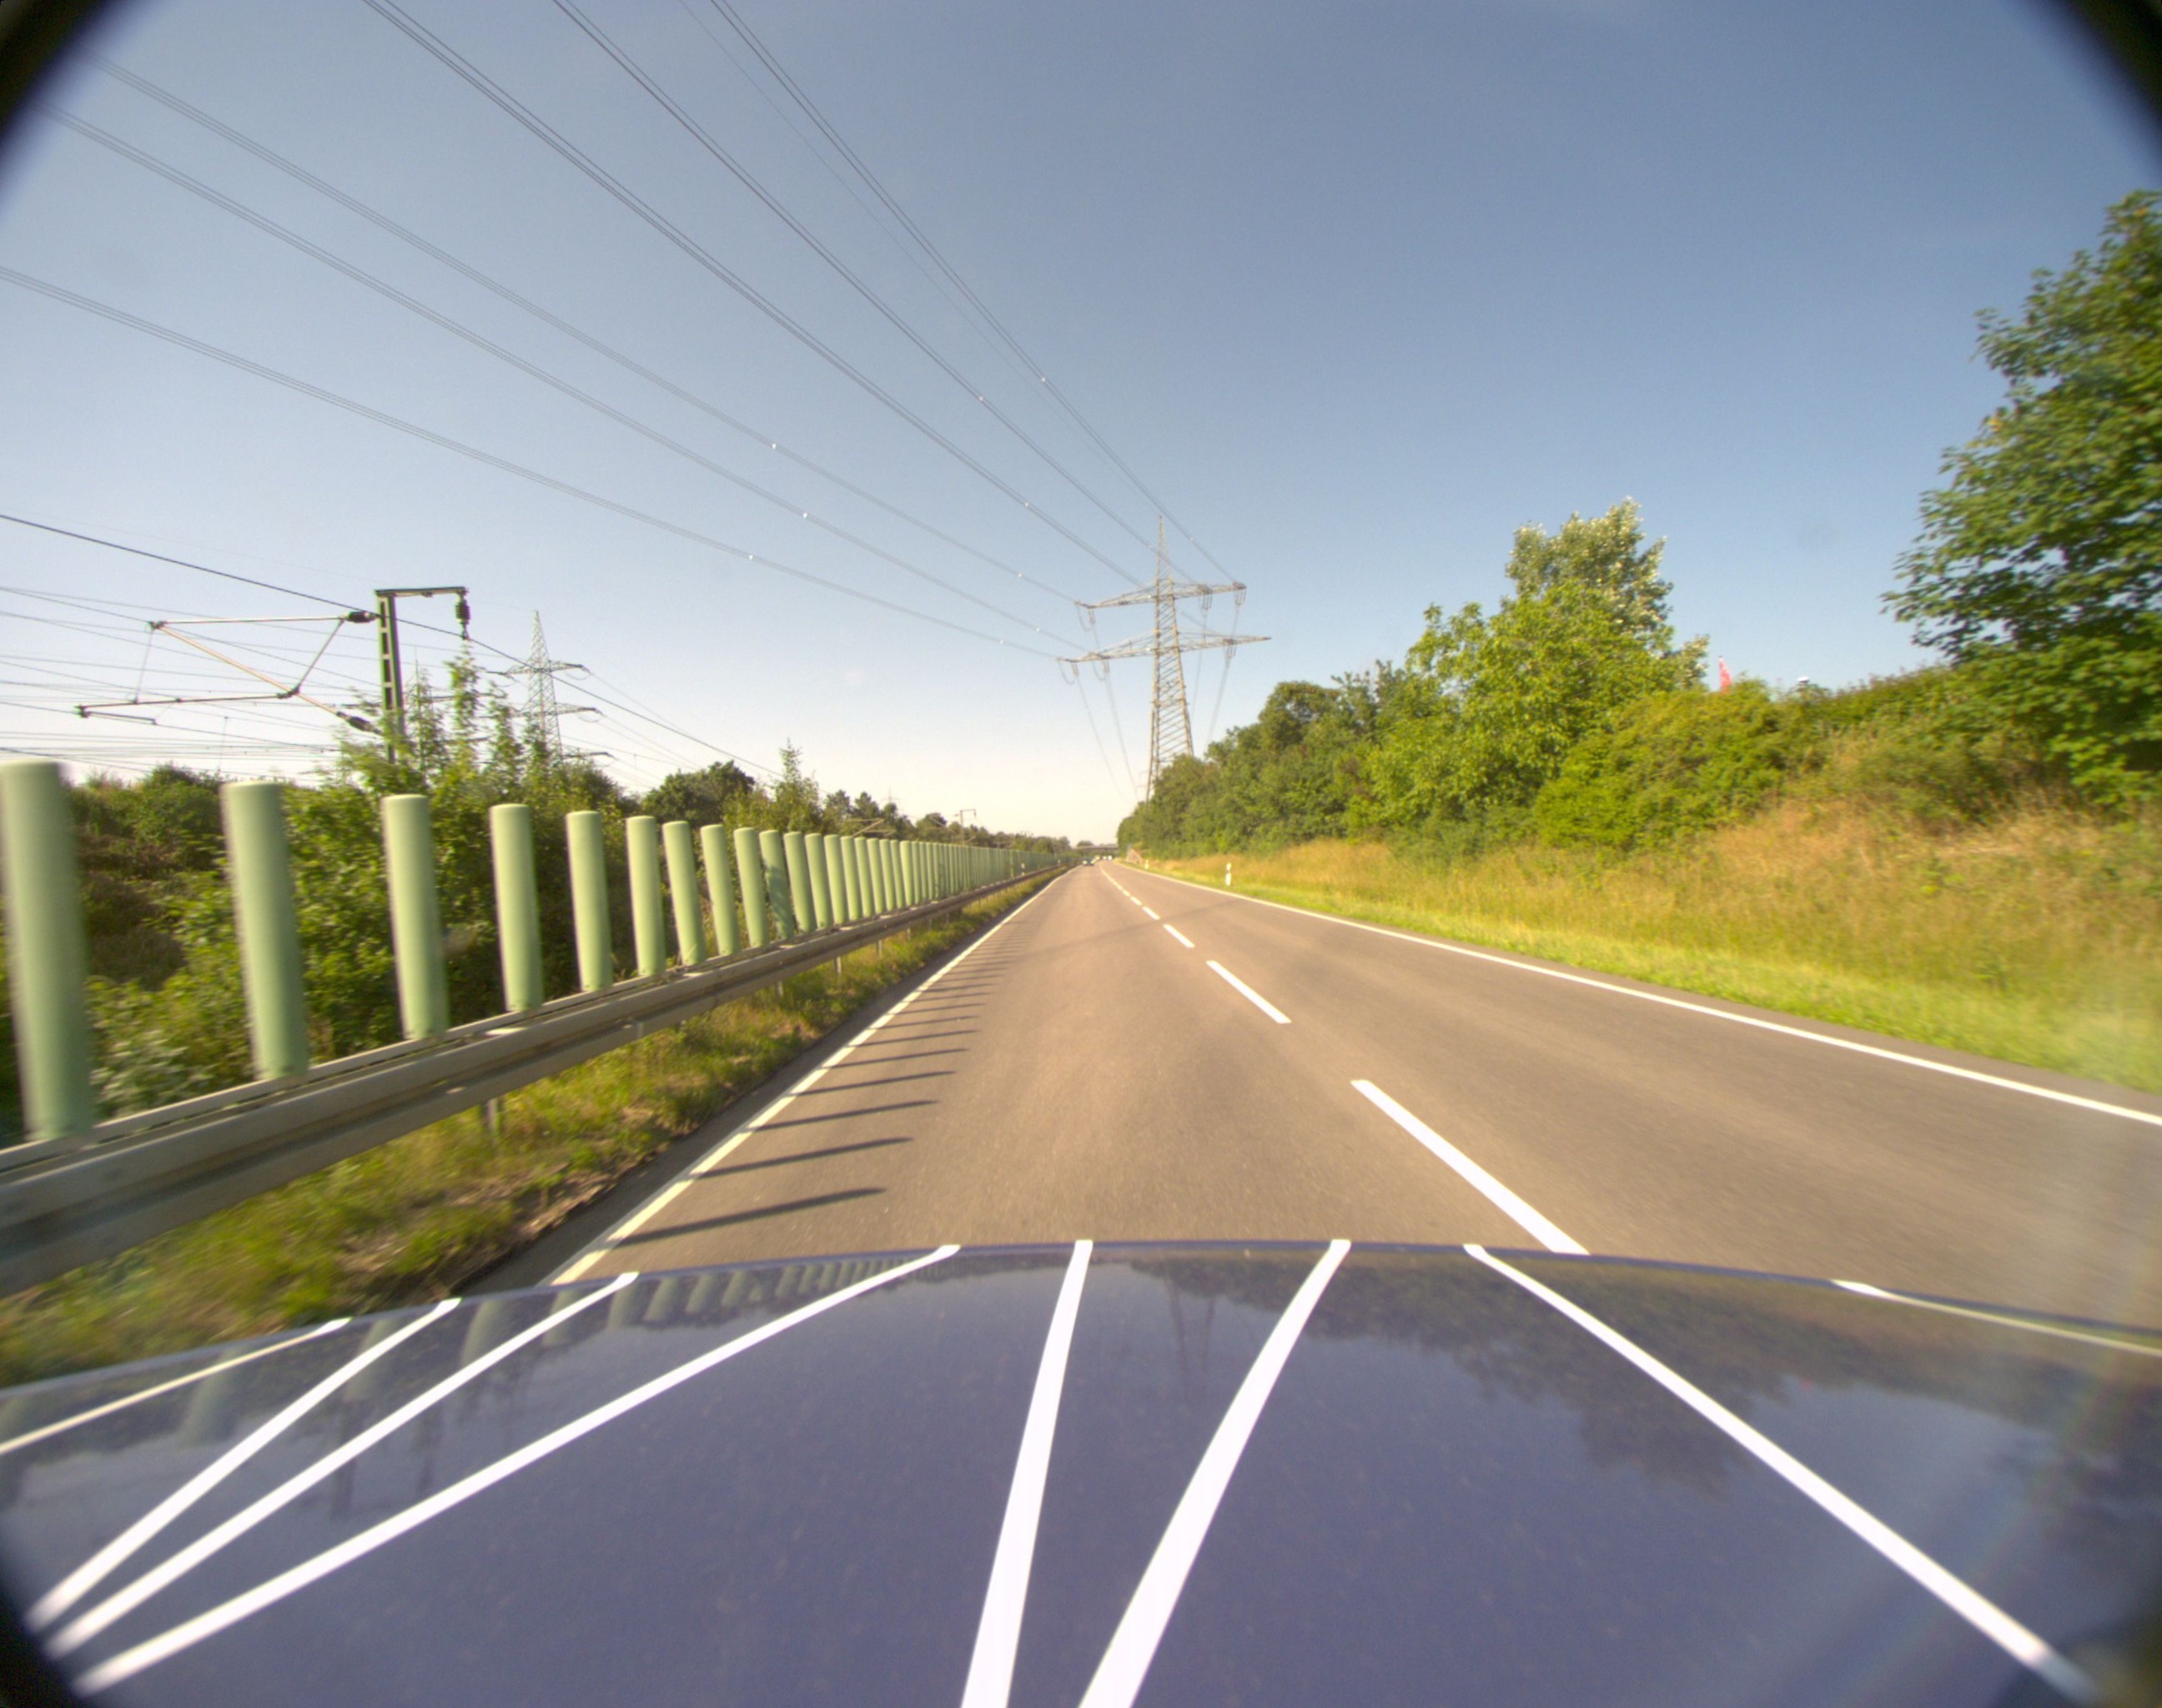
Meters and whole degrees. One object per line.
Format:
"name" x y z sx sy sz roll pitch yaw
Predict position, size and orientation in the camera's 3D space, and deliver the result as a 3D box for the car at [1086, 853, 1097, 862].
"car" 1.776 0.552 132.226 1.787 1.550 4.001 -1 0 2
